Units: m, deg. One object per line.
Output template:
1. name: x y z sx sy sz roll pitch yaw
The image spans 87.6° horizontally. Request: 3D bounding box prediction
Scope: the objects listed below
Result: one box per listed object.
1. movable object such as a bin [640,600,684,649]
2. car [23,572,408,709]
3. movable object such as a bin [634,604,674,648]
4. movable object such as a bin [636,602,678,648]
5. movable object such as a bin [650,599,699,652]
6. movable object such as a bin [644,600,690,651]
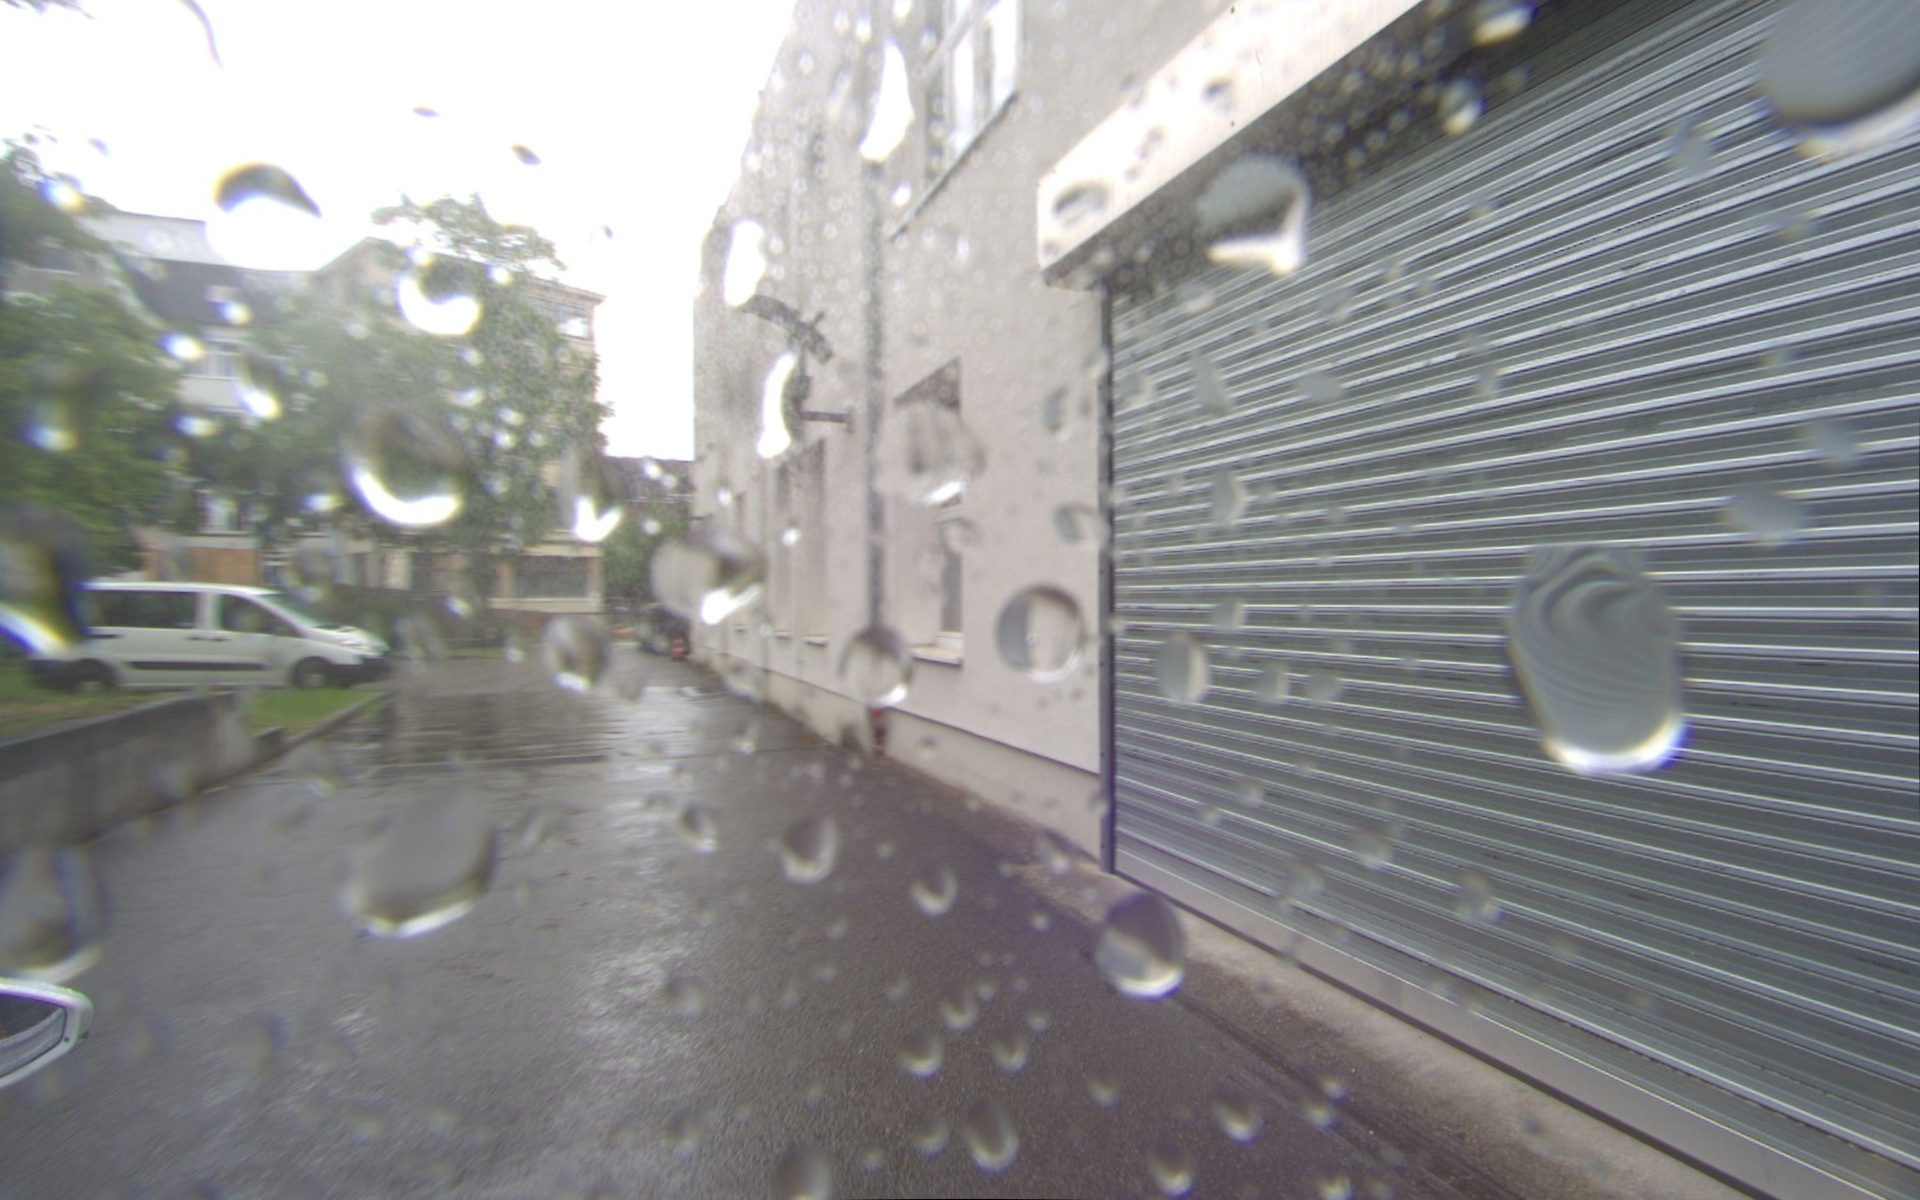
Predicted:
1. movable object such as a bin: -9.308 0.782 31.272 1.198 1.487 1.232 0 -2 -22
2. car: -12.086 0.580 16.710 4.714 2.041 1.995 -1 1 -20
3. movable object such as a bin: -10.347 0.874 33.816 1.198 1.455 1.256 0 -2 -22
4. movable object such as a bin: -9.846 0.817 32.536 1.198 1.455 1.256 0 -2 -22
5. movable object such as a bin: -8.040 0.738 28.207 1.198 1.455 1.232 0 -2 -22
6. movable object such as a bin: -8.722 0.769 29.755 1.198 1.455 1.291 0 -2 -22
